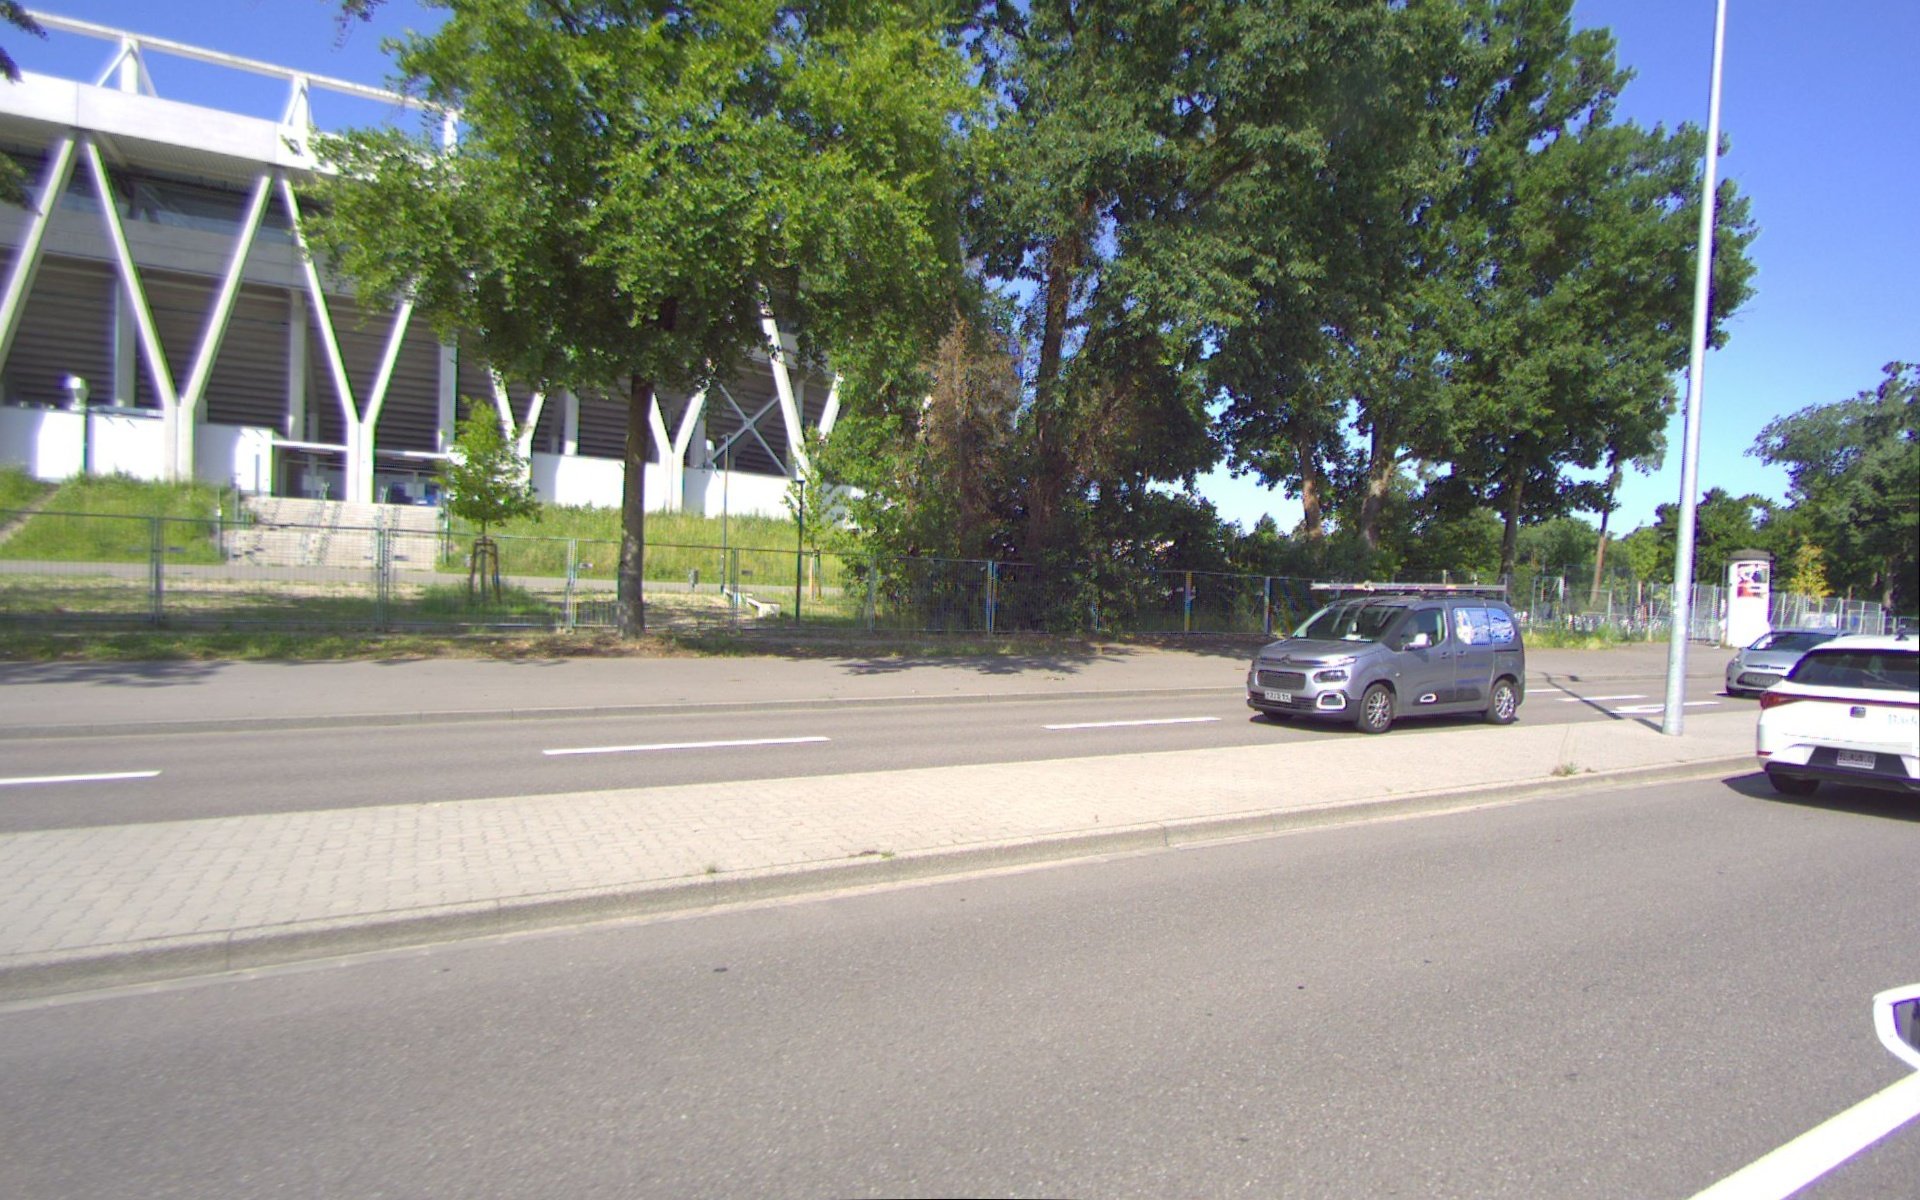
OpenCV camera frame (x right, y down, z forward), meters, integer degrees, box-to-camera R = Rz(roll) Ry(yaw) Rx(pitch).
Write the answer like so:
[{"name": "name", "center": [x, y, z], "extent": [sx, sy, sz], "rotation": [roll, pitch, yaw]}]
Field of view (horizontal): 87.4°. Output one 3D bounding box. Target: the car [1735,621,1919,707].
[{"name": "car", "center": [18.874, 1.343, 21.761], "extent": [3.952, 1.606, 1.900], "rotation": [2, 1, -30]}]

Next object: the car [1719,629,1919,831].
[{"name": "car", "center": [8.932, 1.025, 8.996], "extent": [4.664, 1.446, 1.717], "rotation": [1, 0, -30]}]

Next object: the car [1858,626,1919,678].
[{"name": "car", "center": [30.526, 1.642, 31.994], "extent": [3.955, 1.498, 1.784], "rotation": [2, 1, -31]}]

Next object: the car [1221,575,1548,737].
[{"name": "car", "center": [6.009, 0.724, 14.090], "extent": [4.574, 1.958, 1.832], "rotation": [2, 0, -30]}]
